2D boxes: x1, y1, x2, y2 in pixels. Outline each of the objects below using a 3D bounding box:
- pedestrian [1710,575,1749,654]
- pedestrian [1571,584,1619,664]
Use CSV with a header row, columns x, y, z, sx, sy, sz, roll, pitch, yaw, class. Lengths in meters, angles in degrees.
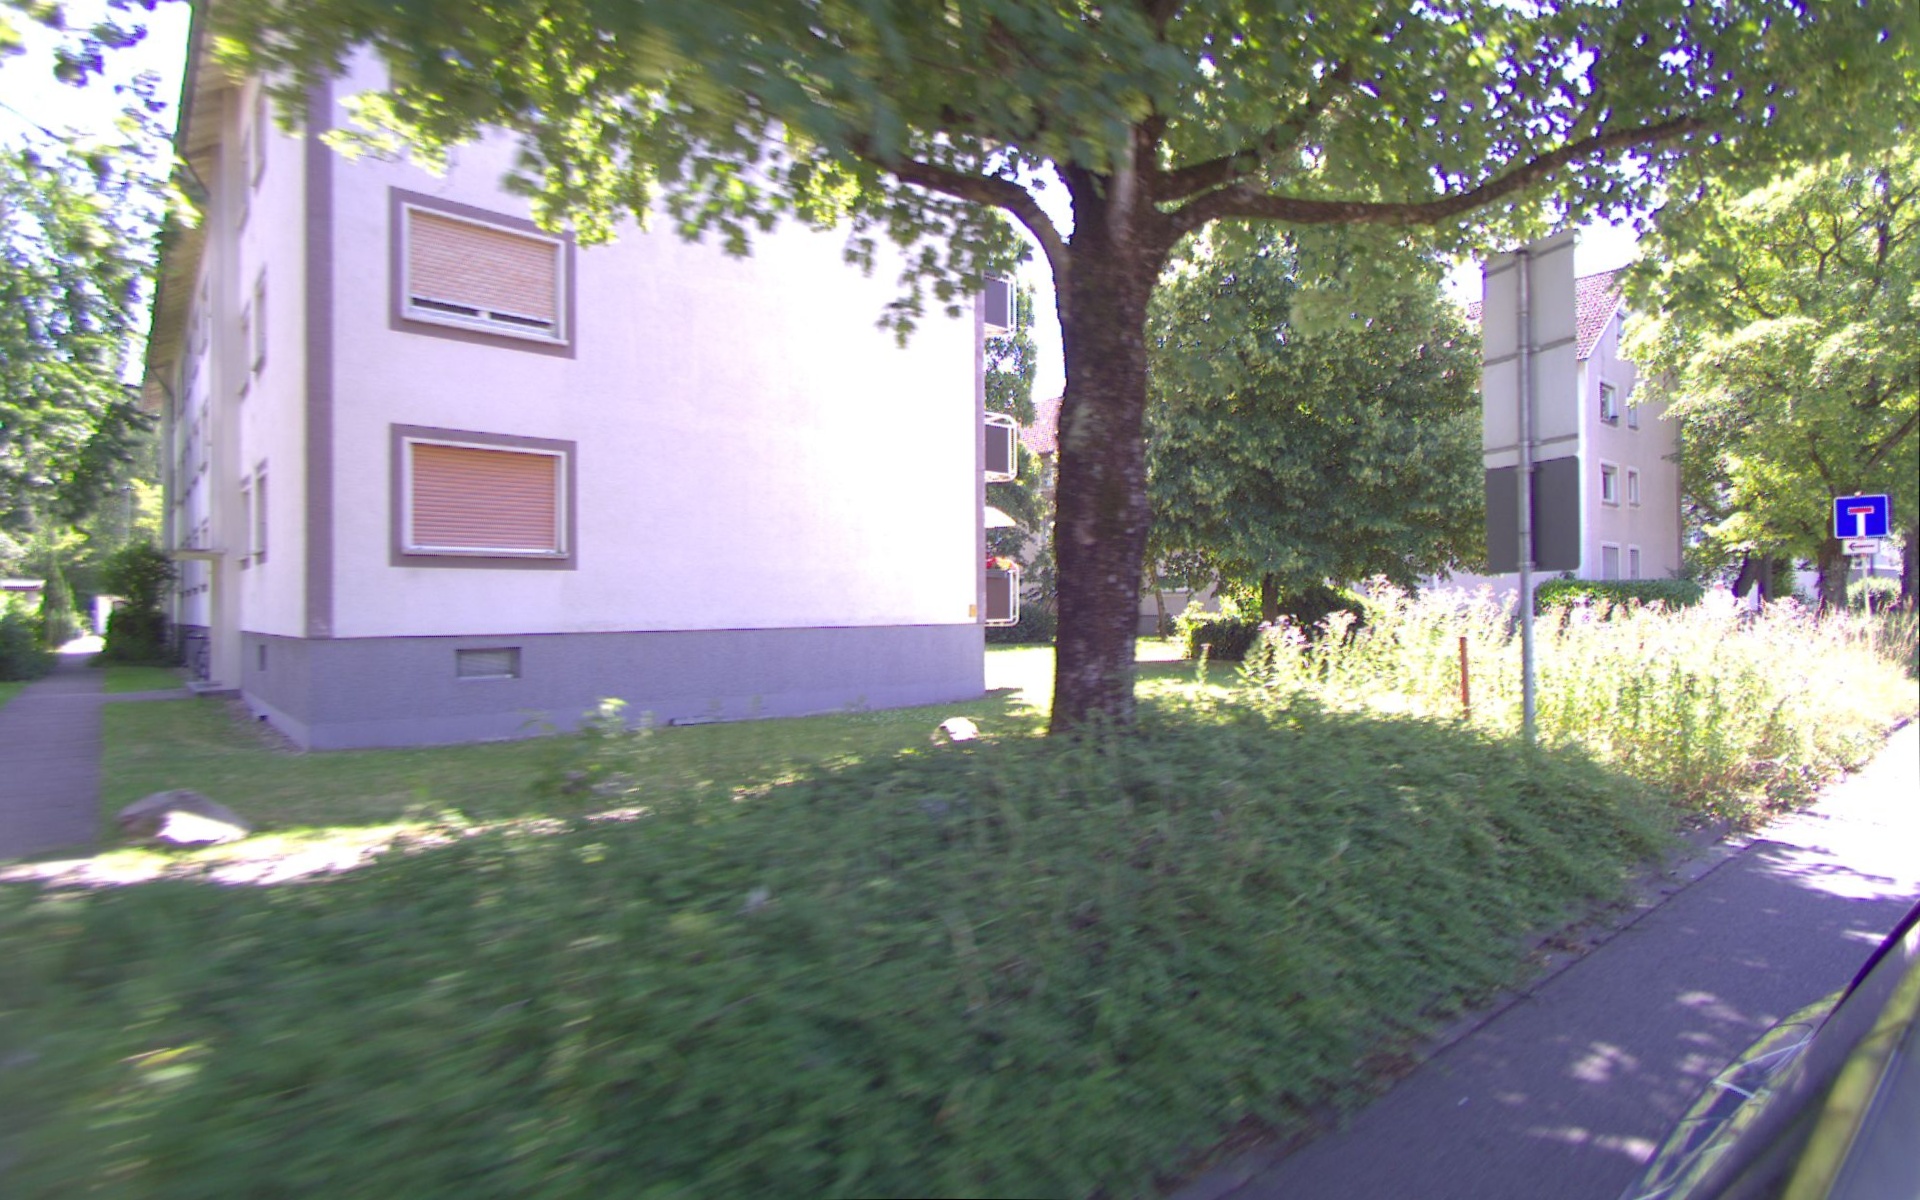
x,y,z,sx,sy,sz,roll,pitch,yaw,class
18.960,0.336,24.939,0.669,1.897,0.893,0,0,31,pedestrian
13.590,0.494,21.651,0.718,1.654,0.838,0,0,43,pedestrian
